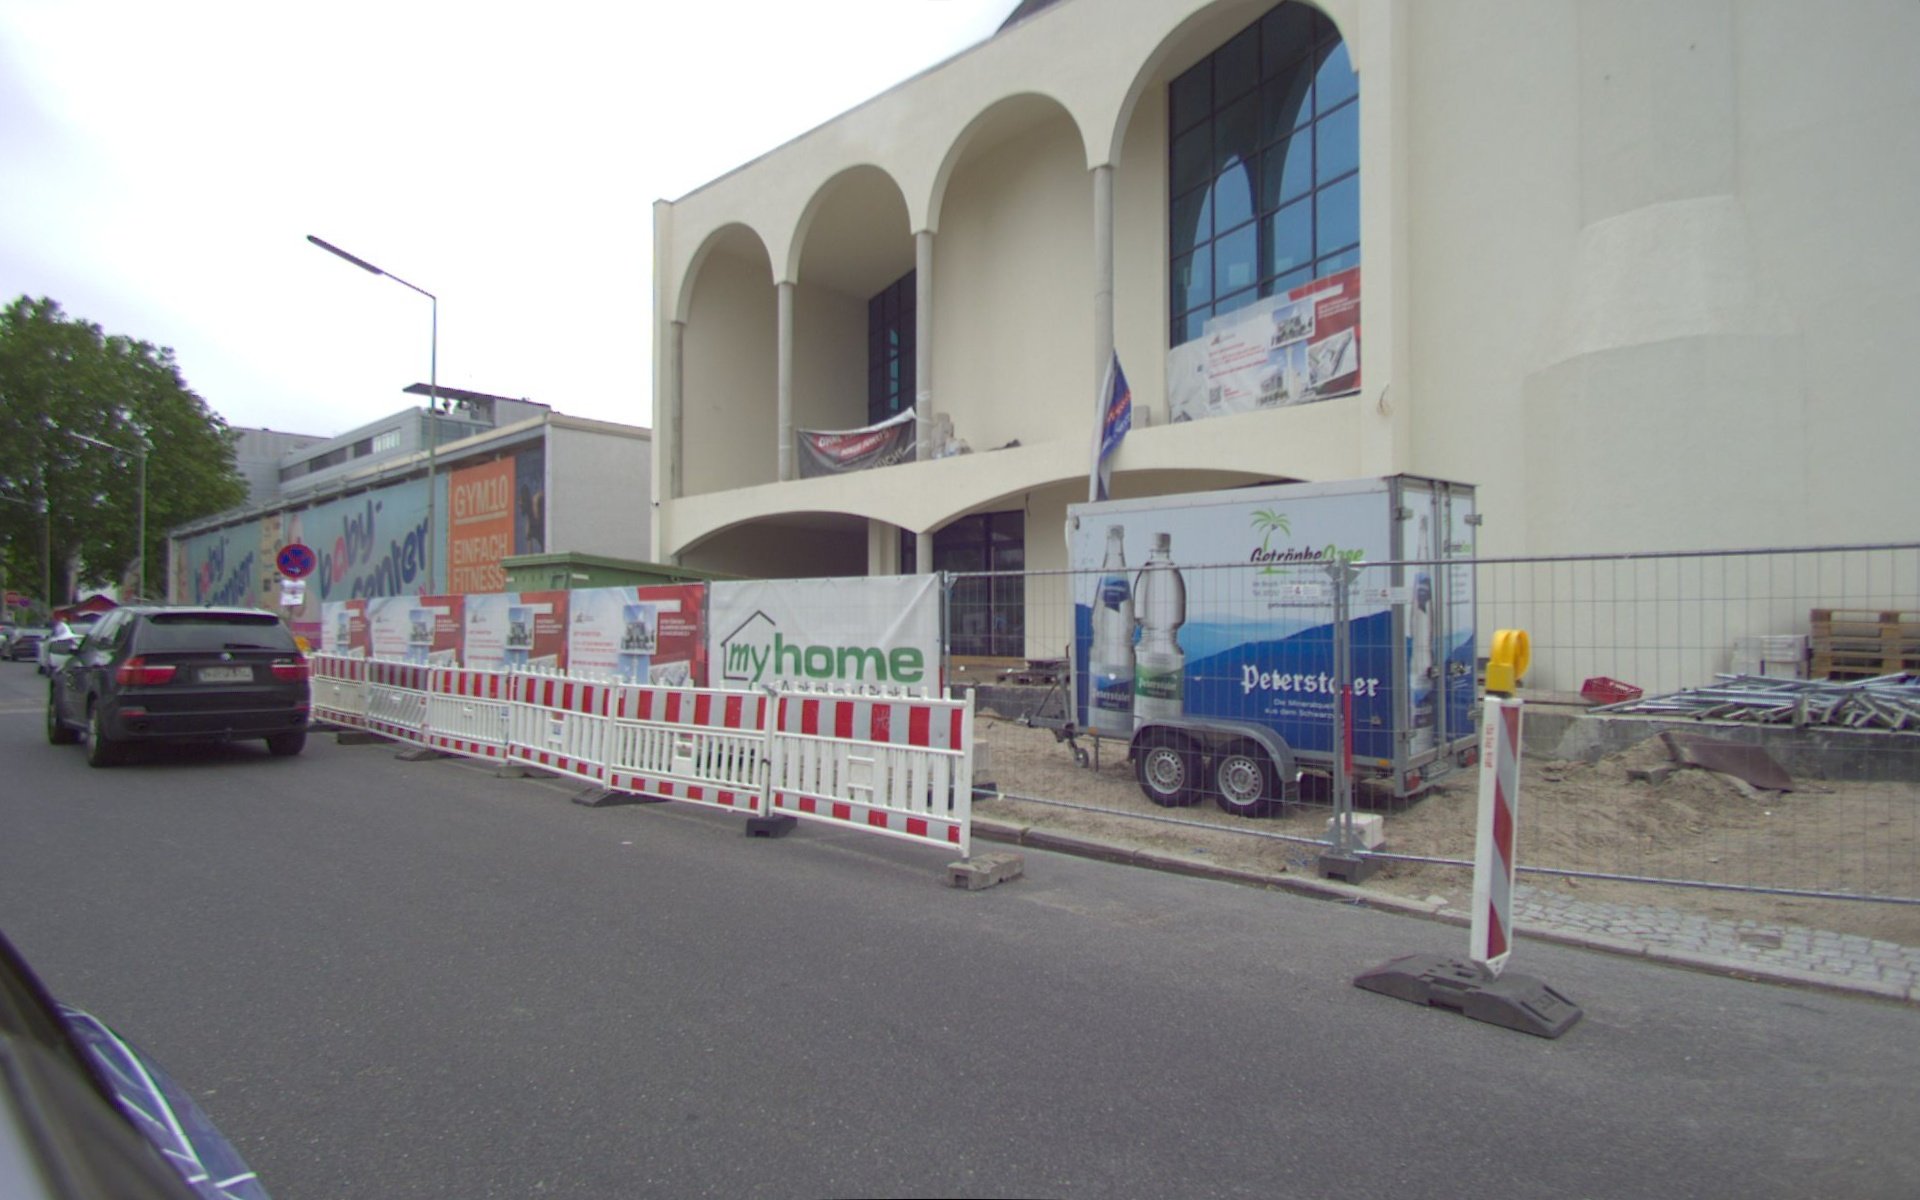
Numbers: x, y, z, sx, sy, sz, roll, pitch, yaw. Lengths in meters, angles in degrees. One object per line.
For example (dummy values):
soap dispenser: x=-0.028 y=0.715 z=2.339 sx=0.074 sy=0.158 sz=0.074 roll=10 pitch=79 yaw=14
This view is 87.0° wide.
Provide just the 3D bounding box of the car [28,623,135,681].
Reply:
car: x=-26.351 y=1.539 z=30.308 sx=4.149 sy=1.586 sz=1.903 roll=-1 pitch=-5 yaw=43

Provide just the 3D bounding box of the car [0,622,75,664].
car: x=-37.887 y=1.740 z=41.505 sx=4.149 sy=1.586 sz=1.903 roll=-1 pitch=-5 yaw=43

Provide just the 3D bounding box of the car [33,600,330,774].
car: x=-9.374 y=0.924 z=12.036 sx=4.653 sy=1.674 sz=1.938 roll=-1 pitch=-4 yaw=42

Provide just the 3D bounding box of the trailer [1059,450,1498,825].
trailer: x=2.669 y=0.301 z=8.845 sx=3.193 sy=2.626 sz=1.777 roll=-2 pitch=-2 yaw=45

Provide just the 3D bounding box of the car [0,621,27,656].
car: x=-46.157 y=1.813 z=48.357 sx=4.149 sy=1.586 sz=1.903 roll=-1 pitch=-5 yaw=43
